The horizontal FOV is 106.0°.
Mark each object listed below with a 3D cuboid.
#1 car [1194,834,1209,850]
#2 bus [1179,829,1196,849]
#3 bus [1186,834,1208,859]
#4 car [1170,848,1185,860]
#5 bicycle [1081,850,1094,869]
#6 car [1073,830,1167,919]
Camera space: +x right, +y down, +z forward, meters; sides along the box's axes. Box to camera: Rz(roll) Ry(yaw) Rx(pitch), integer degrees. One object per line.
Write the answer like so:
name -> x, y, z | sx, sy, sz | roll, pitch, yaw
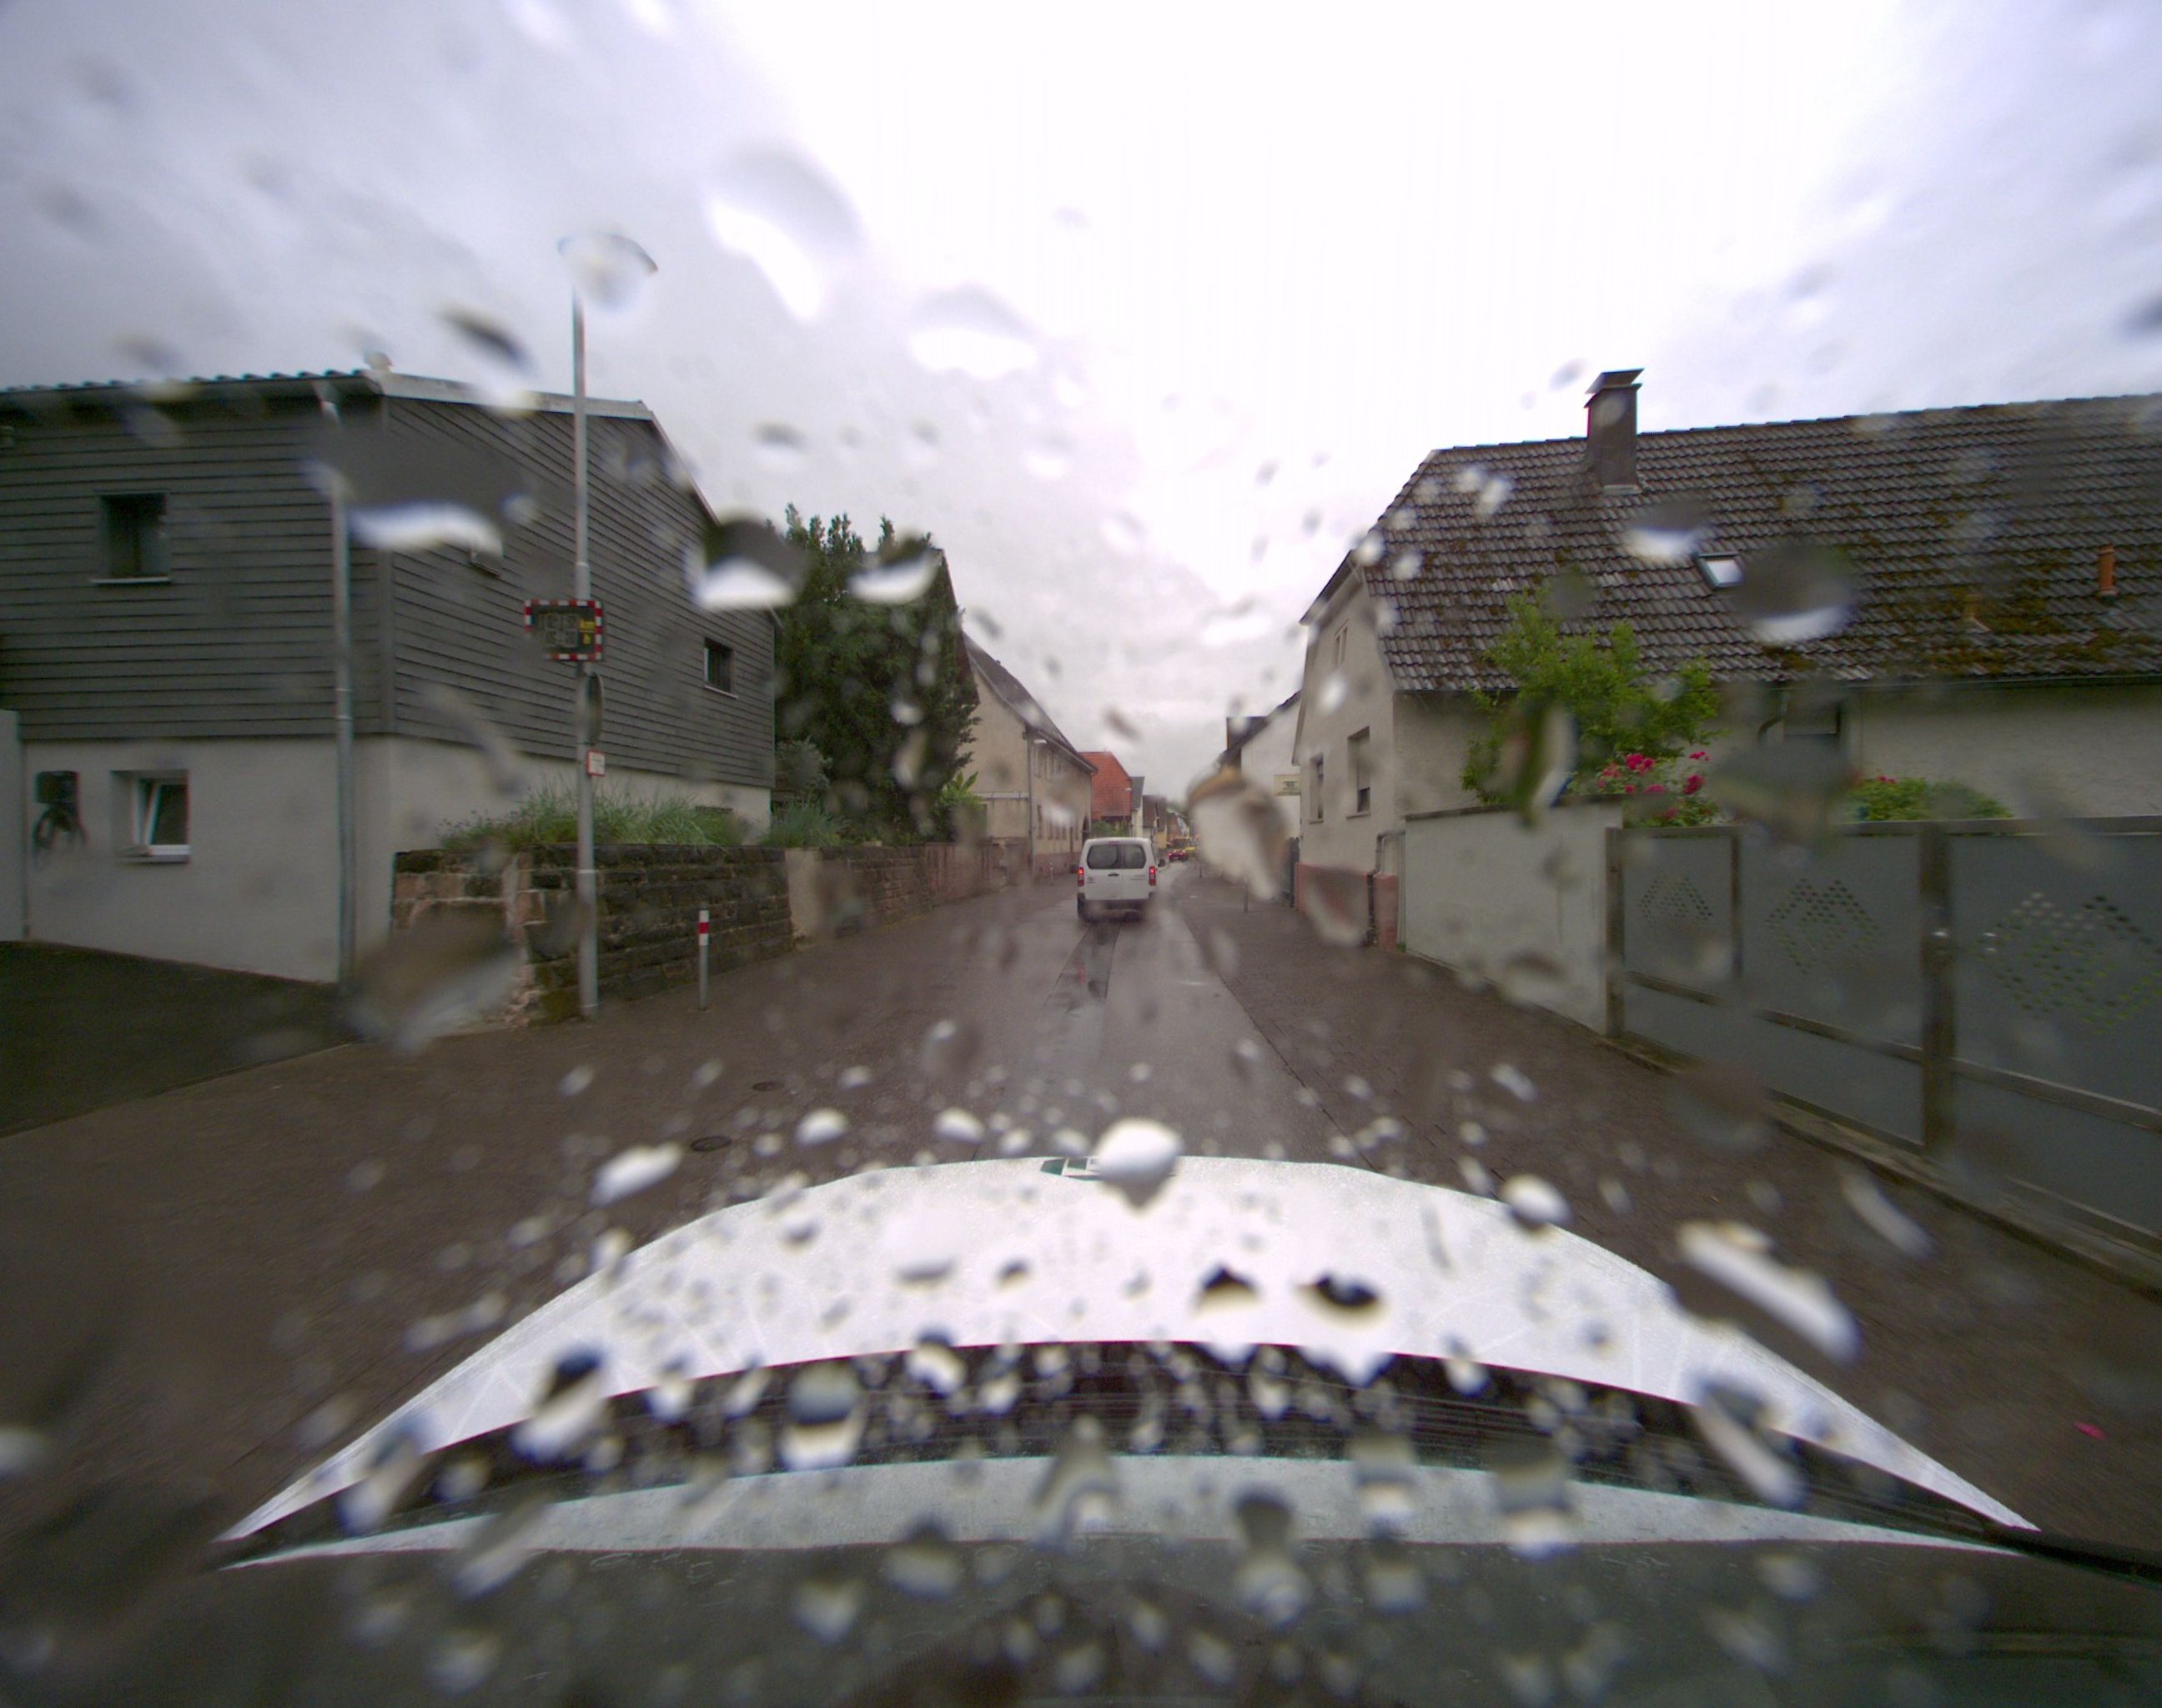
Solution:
car -> 15.219, -1.502, 102.880 | 1.817, 2.013, 3.702 | 1, 0, 8
bus -> 19.867, -2.740, 151.601 | 2.777, 3.329, 8.197 | 2, 0, 8
bus -> 15.762, -1.010, 110.834 | 2.777, 3.180, 8.197 | 2, 0, 8
car -> 11.784, 0.033, 99.476 | 1.552, 1.371, 3.594 | -2, 0, 9
bicycle -> 0.436, 0.346, 52.434 | 0.480, 1.180, 1.840 | 1, 0, 10
car -> 1.030, 0.436, 19.210 | 1.785, 1.819, 4.111 | -2, 0, 8
